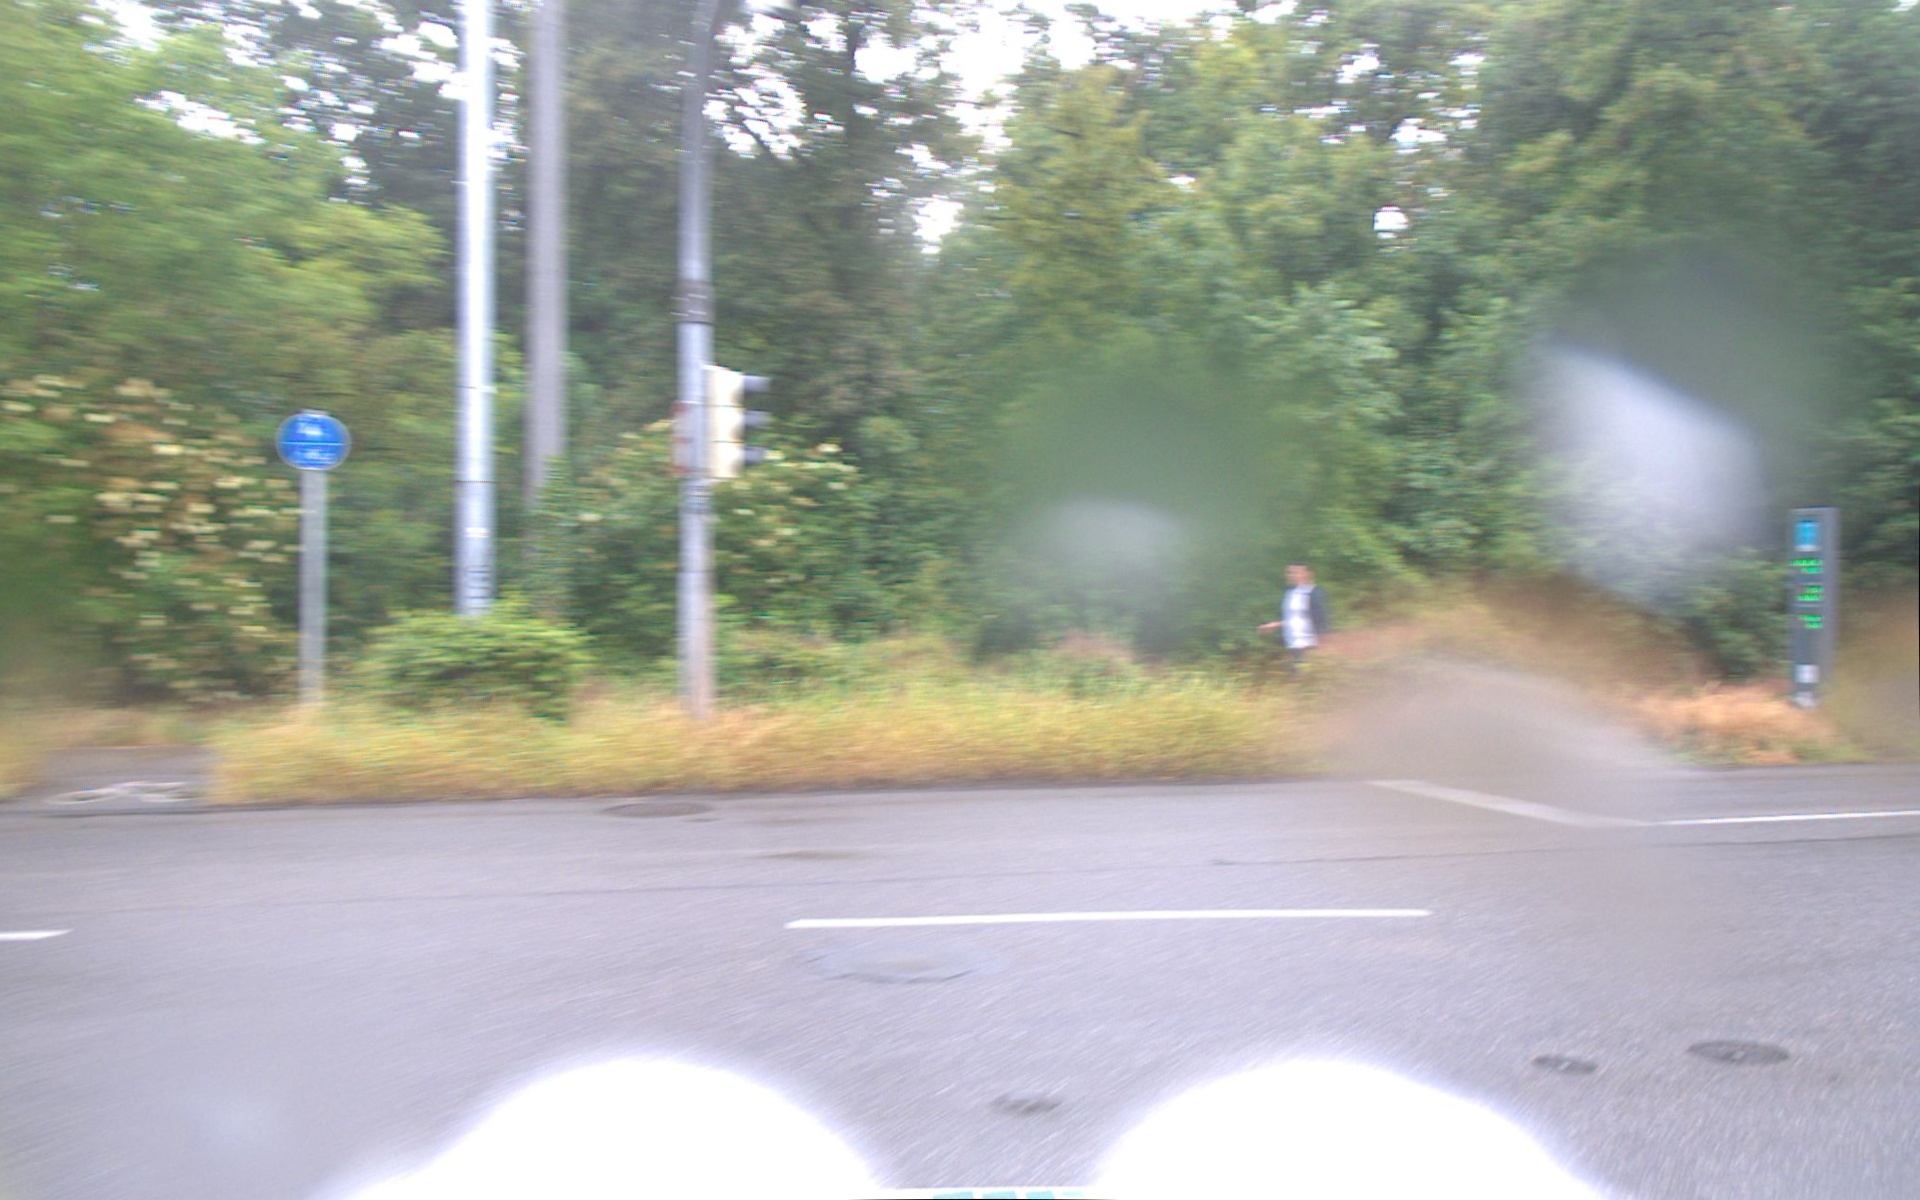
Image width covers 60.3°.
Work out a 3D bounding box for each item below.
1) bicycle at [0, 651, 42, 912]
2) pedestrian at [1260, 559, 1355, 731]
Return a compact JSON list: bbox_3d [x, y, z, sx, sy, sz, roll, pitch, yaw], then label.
[{"bbox_3d":[-4.346,0.810,6.528,0.568,1.115,2.149,1,1,-10],"label":"bicycle"},{"bbox_3d":[3.790,0.483,18.079,0.748,1.831,0.775,1,0,-15],"label":"pedestrian"}]
